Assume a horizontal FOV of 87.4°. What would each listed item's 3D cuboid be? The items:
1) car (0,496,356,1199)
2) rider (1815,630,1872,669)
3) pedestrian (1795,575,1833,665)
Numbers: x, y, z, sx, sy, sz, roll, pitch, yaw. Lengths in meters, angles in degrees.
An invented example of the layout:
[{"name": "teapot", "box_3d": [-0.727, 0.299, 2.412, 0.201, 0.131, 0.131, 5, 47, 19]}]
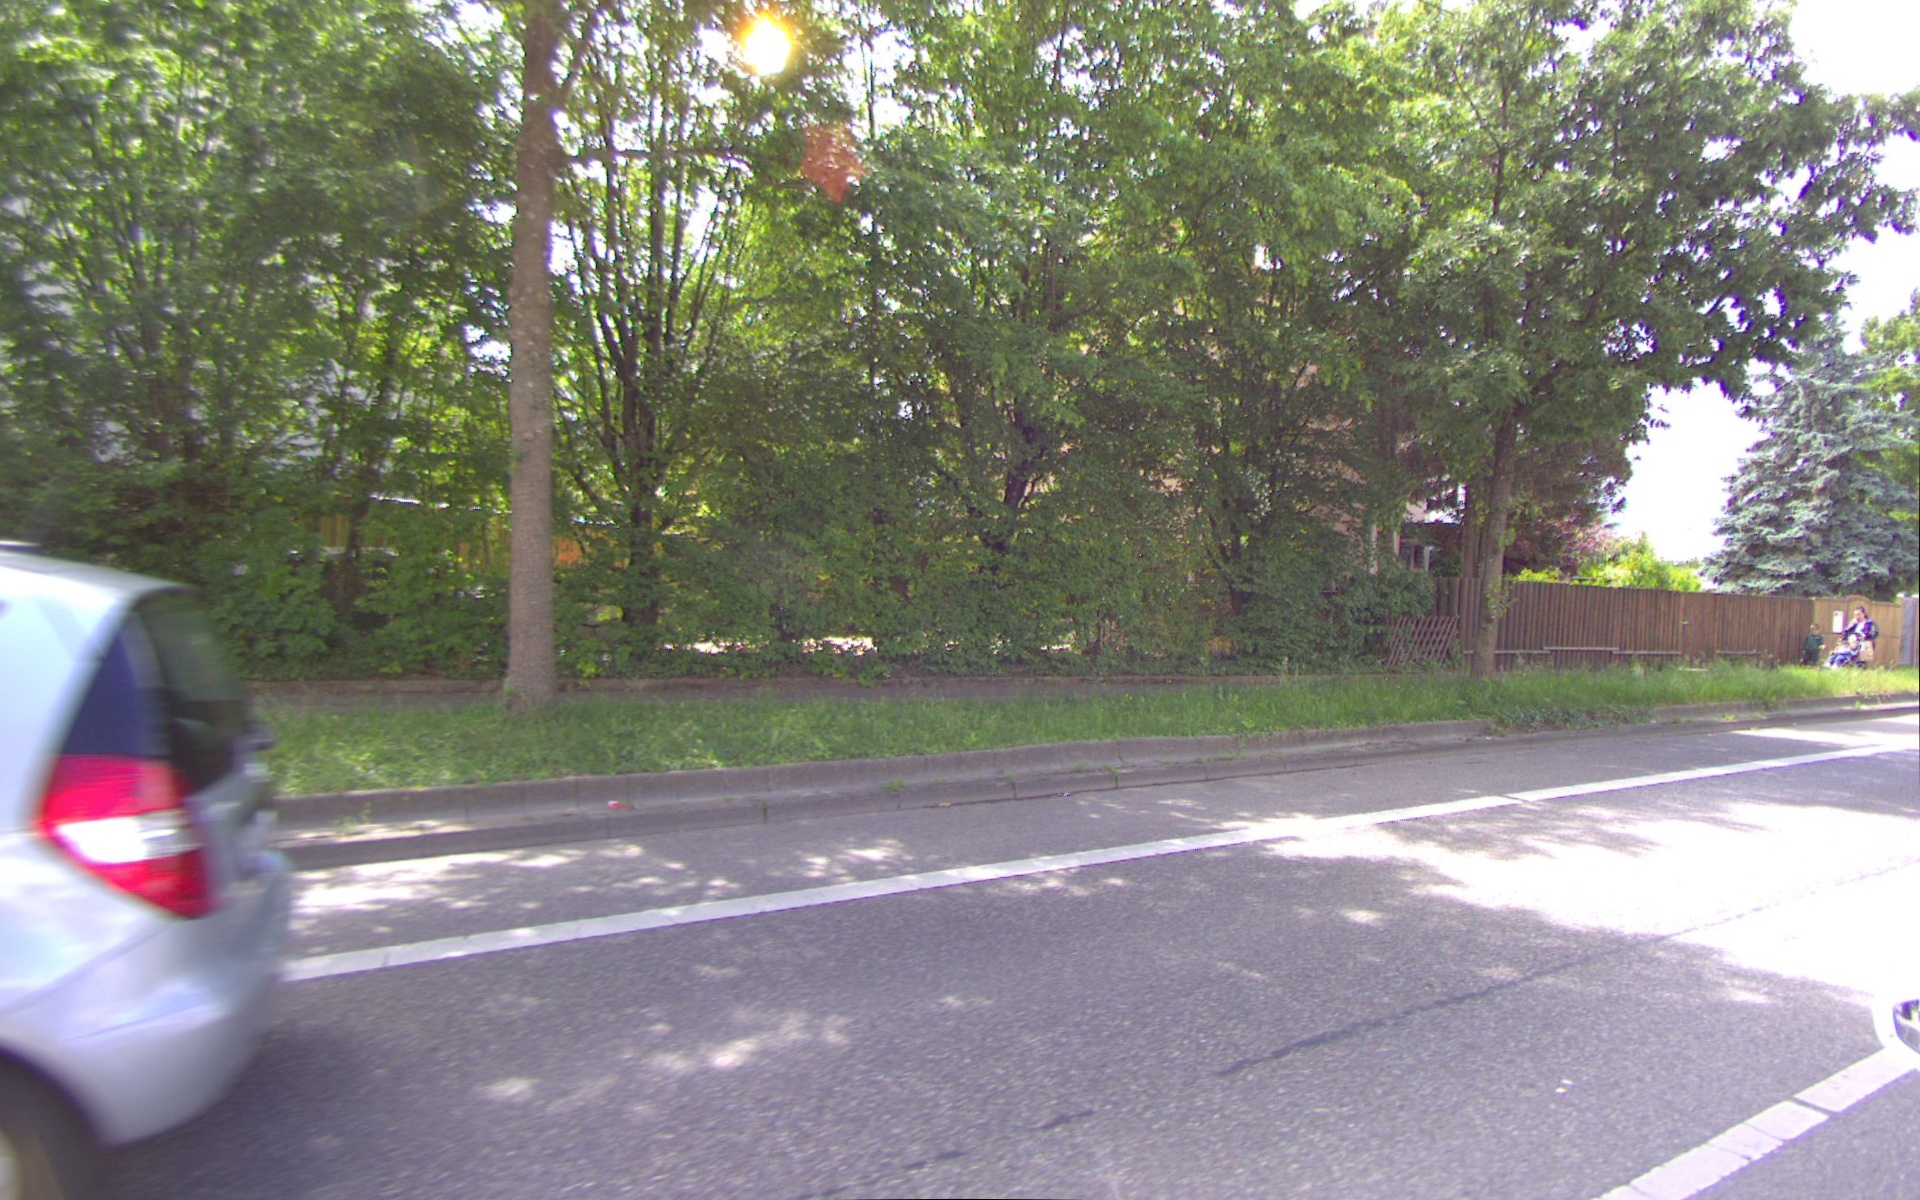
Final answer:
[{"name": "car", "box_3d": [-3.473, 0.570, 1.861, 3.953, 1.639, 1.700, 1, 1, -30]}, {"name": "rider", "box_3d": [19.312, 1.082, 21.962, 0.683, 0.744, 0.724, 3, 3, -34]}, {"name": "pedestrian", "box_3d": [19.612, 0.459, 23.075, 0.409, 2.040, 0.400, 3, 3, -29]}]
